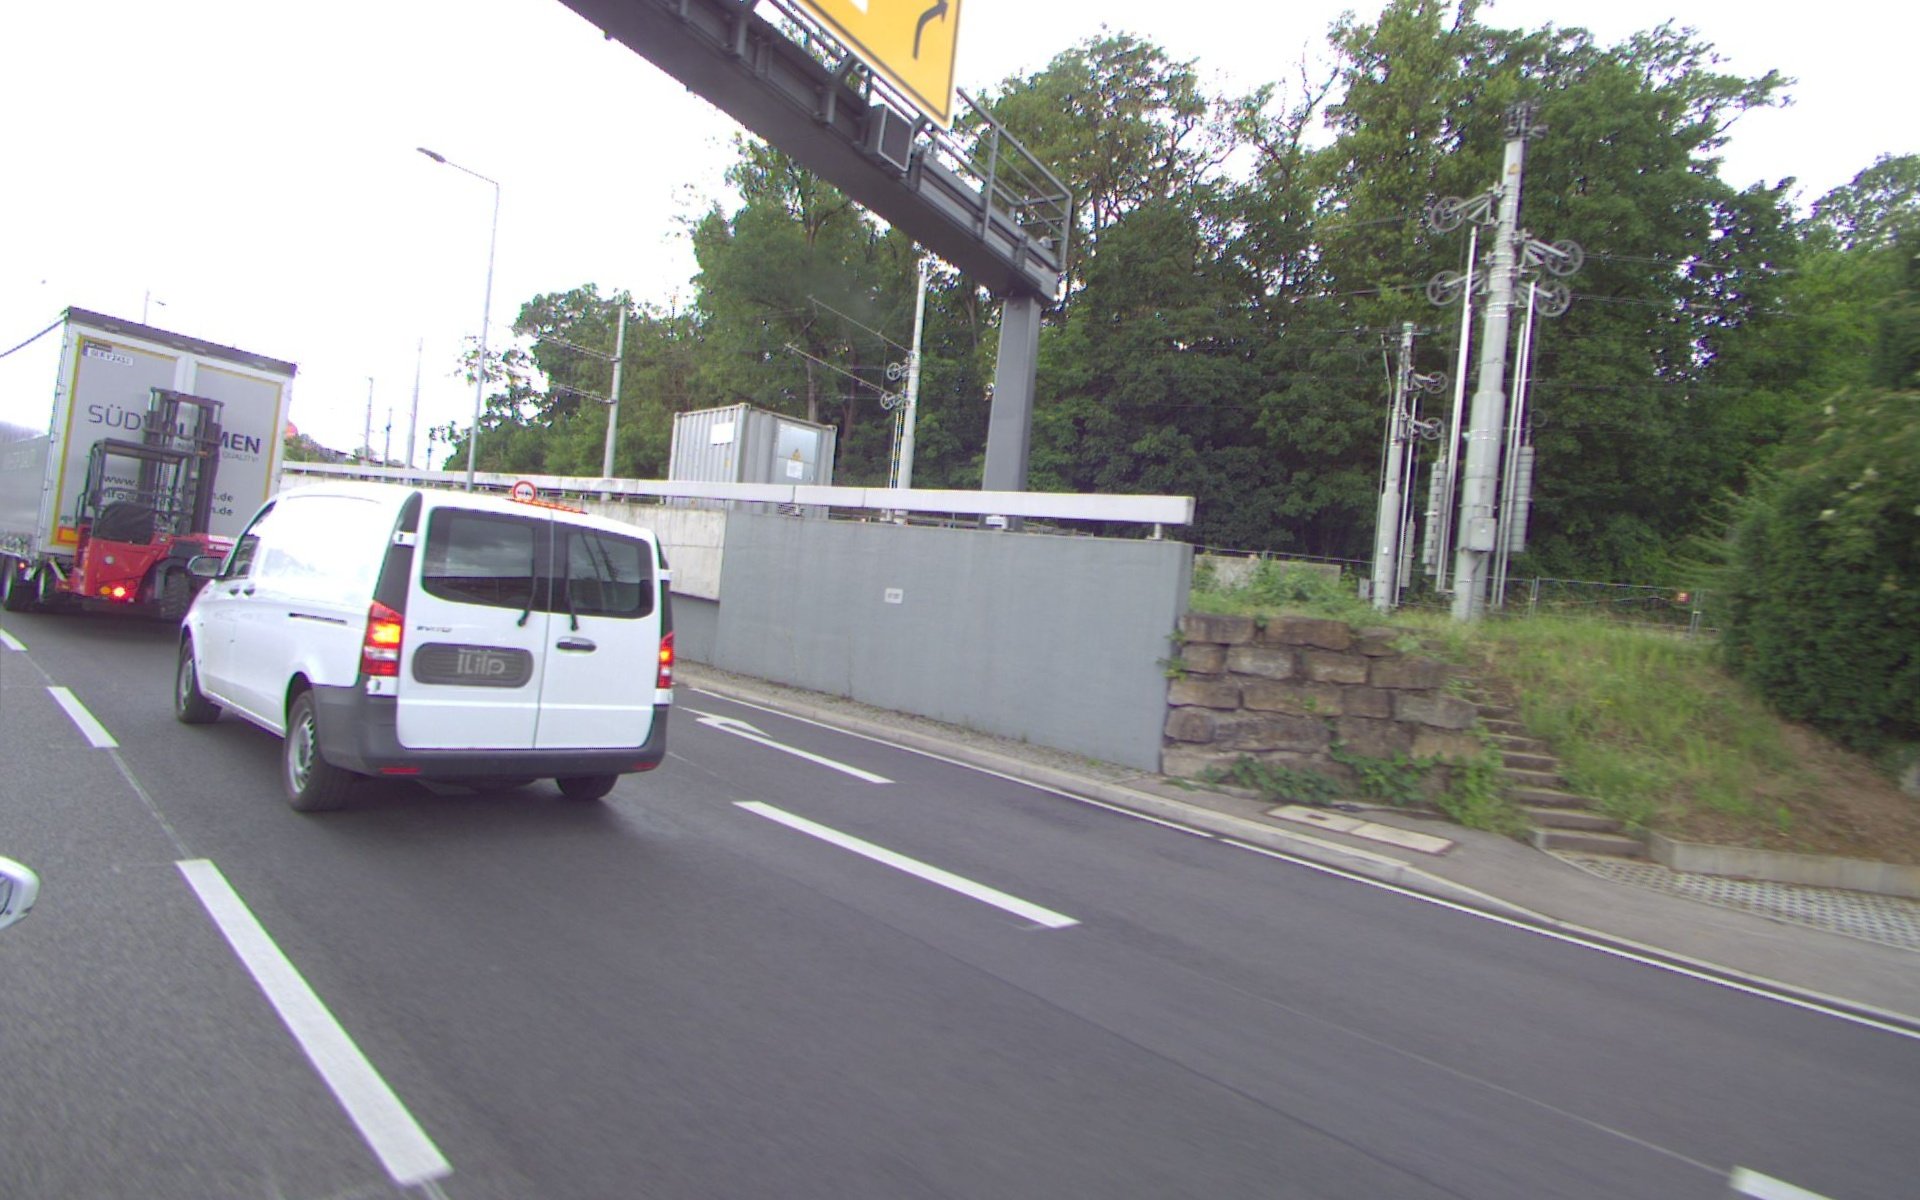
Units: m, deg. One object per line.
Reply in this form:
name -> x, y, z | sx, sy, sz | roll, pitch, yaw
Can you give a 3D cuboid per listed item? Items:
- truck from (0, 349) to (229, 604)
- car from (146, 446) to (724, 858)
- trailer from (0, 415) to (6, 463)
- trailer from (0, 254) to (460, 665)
truck -> -20.575, -2.615, 22.498 | 10.821, 4.189, 3.725 | 6, -2, 38
car -> -4.133, 0.198, 7.367 | 5.130, 2.013, 1.991 | 5, -2, 43
trailer -> -40.278, -4.957, 37.977 | 11.928, 4.685, 3.808 | 6, -2, 36
trailer -> -12.299, -1.802, 15.634 | 10.826, 4.189, 3.723 | 6, -2, 40
